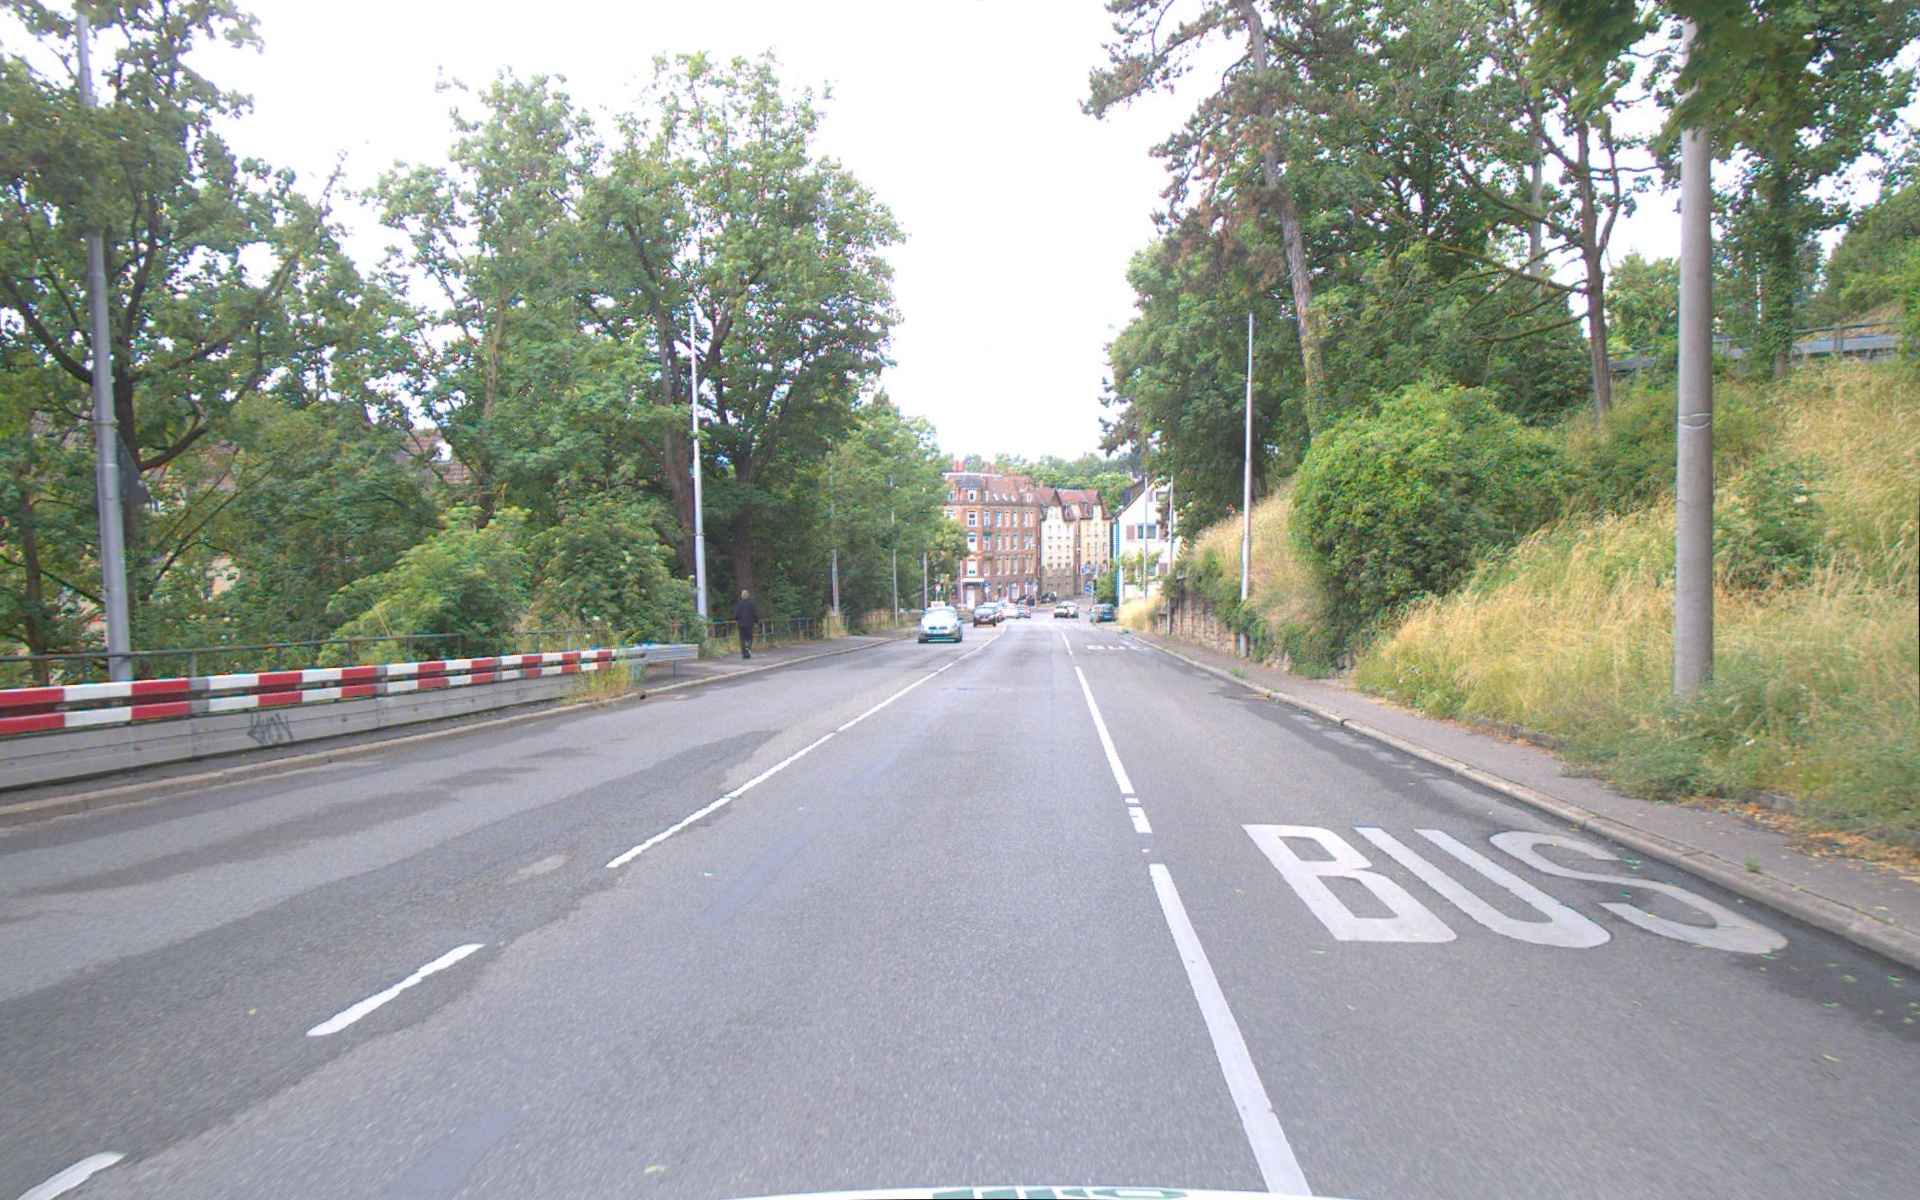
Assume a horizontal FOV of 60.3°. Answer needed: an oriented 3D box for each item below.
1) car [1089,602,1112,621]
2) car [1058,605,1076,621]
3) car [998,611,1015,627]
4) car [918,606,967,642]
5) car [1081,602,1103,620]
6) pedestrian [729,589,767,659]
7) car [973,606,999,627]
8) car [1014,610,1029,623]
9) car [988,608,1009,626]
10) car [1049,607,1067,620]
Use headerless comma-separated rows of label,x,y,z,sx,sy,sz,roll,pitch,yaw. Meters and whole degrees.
car,11.643,0.970,137.224,1.647,1.476,4.001,-4,-1,3
car,13.218,1.619,204.283,1.868,1.917,4.003,1,-1,7
car,4.882,1.961,174.047,1.746,1.602,4.282,-1,-1,2
car,-0.711,1.001,70.109,1.756,1.452,4.145,0,0,3
car,11.694,0.962,146.165,1.756,1.476,4.721,-4,0,6
pedestrian,-5.694,0.637,44.534,0.772,1.805,1.209,2,0,1
car,1.873,1.177,119.104,1.634,1.472,3.689,-2,-1,3
car,7.189,1.929,193.860,1.746,1.485,4.430,-1,-1,2
car,3.279,1.419,140.915,1.677,1.452,4.140,-1,0,2
car,11.680,1.636,197.277,1.778,1.455,4.003,1,0,7
